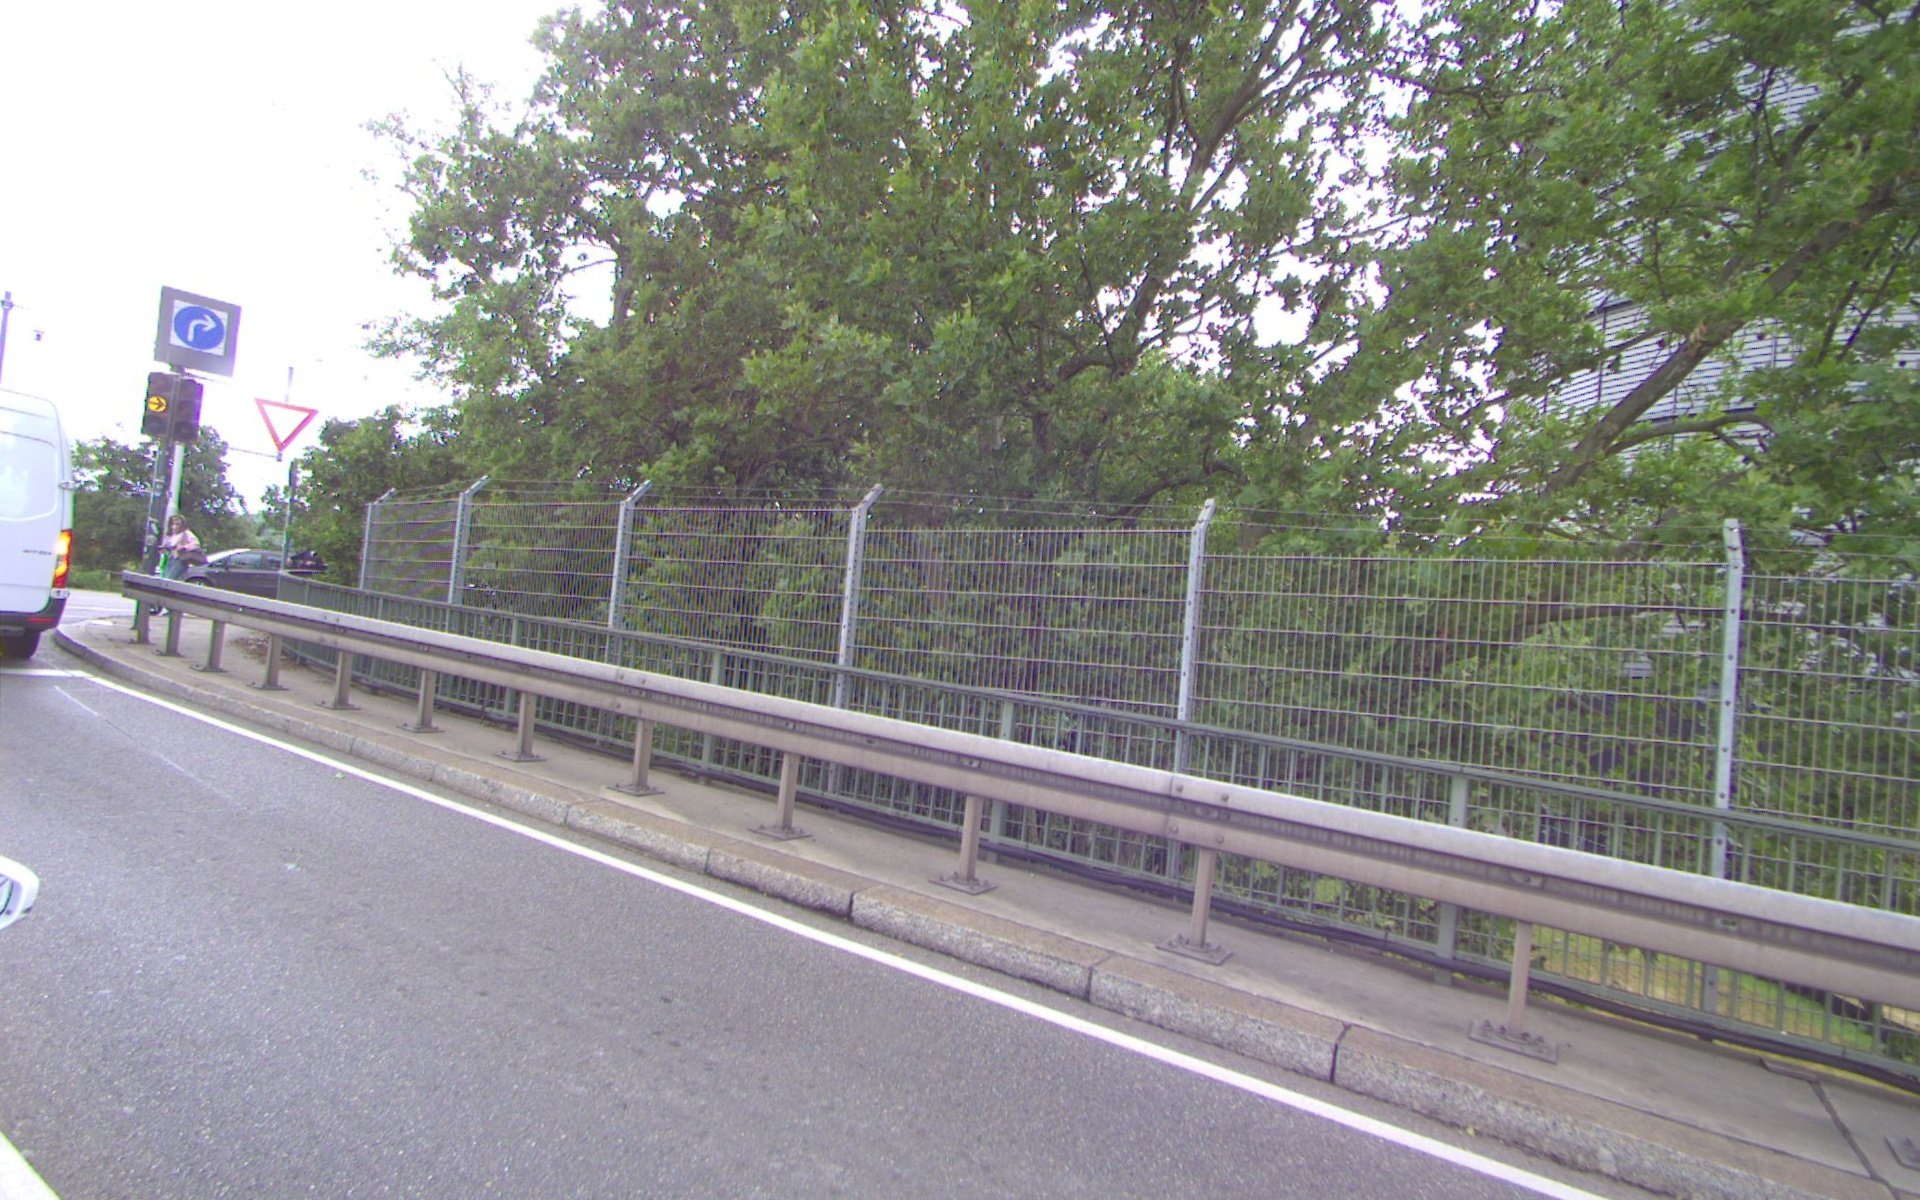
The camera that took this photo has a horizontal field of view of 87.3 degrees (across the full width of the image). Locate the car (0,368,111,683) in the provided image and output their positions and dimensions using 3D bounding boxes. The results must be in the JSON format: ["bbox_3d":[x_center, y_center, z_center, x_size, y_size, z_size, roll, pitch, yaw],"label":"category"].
[{"bbox_3d":[-11.554,-1.024,10.853,6.677,2.817,2.110,7,-1,38],"label":"car"}]

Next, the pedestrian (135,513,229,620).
[{"bbox_3d":[-13.260,-0.570,17.149,0.963,1.698,0.834,4,-2,29],"label":"pedestrian"}]

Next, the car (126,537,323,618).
[{"bbox_3d":[-20.544,-0.596,28.257,1.784,1.684,3.991,7,-1,34],"label":"car"}]

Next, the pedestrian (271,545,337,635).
[{"bbox_3d":[-12.723,-0.194,19.531,0.774,1.639,0.674,7,0,-22],"label":"pedestrian"}]
